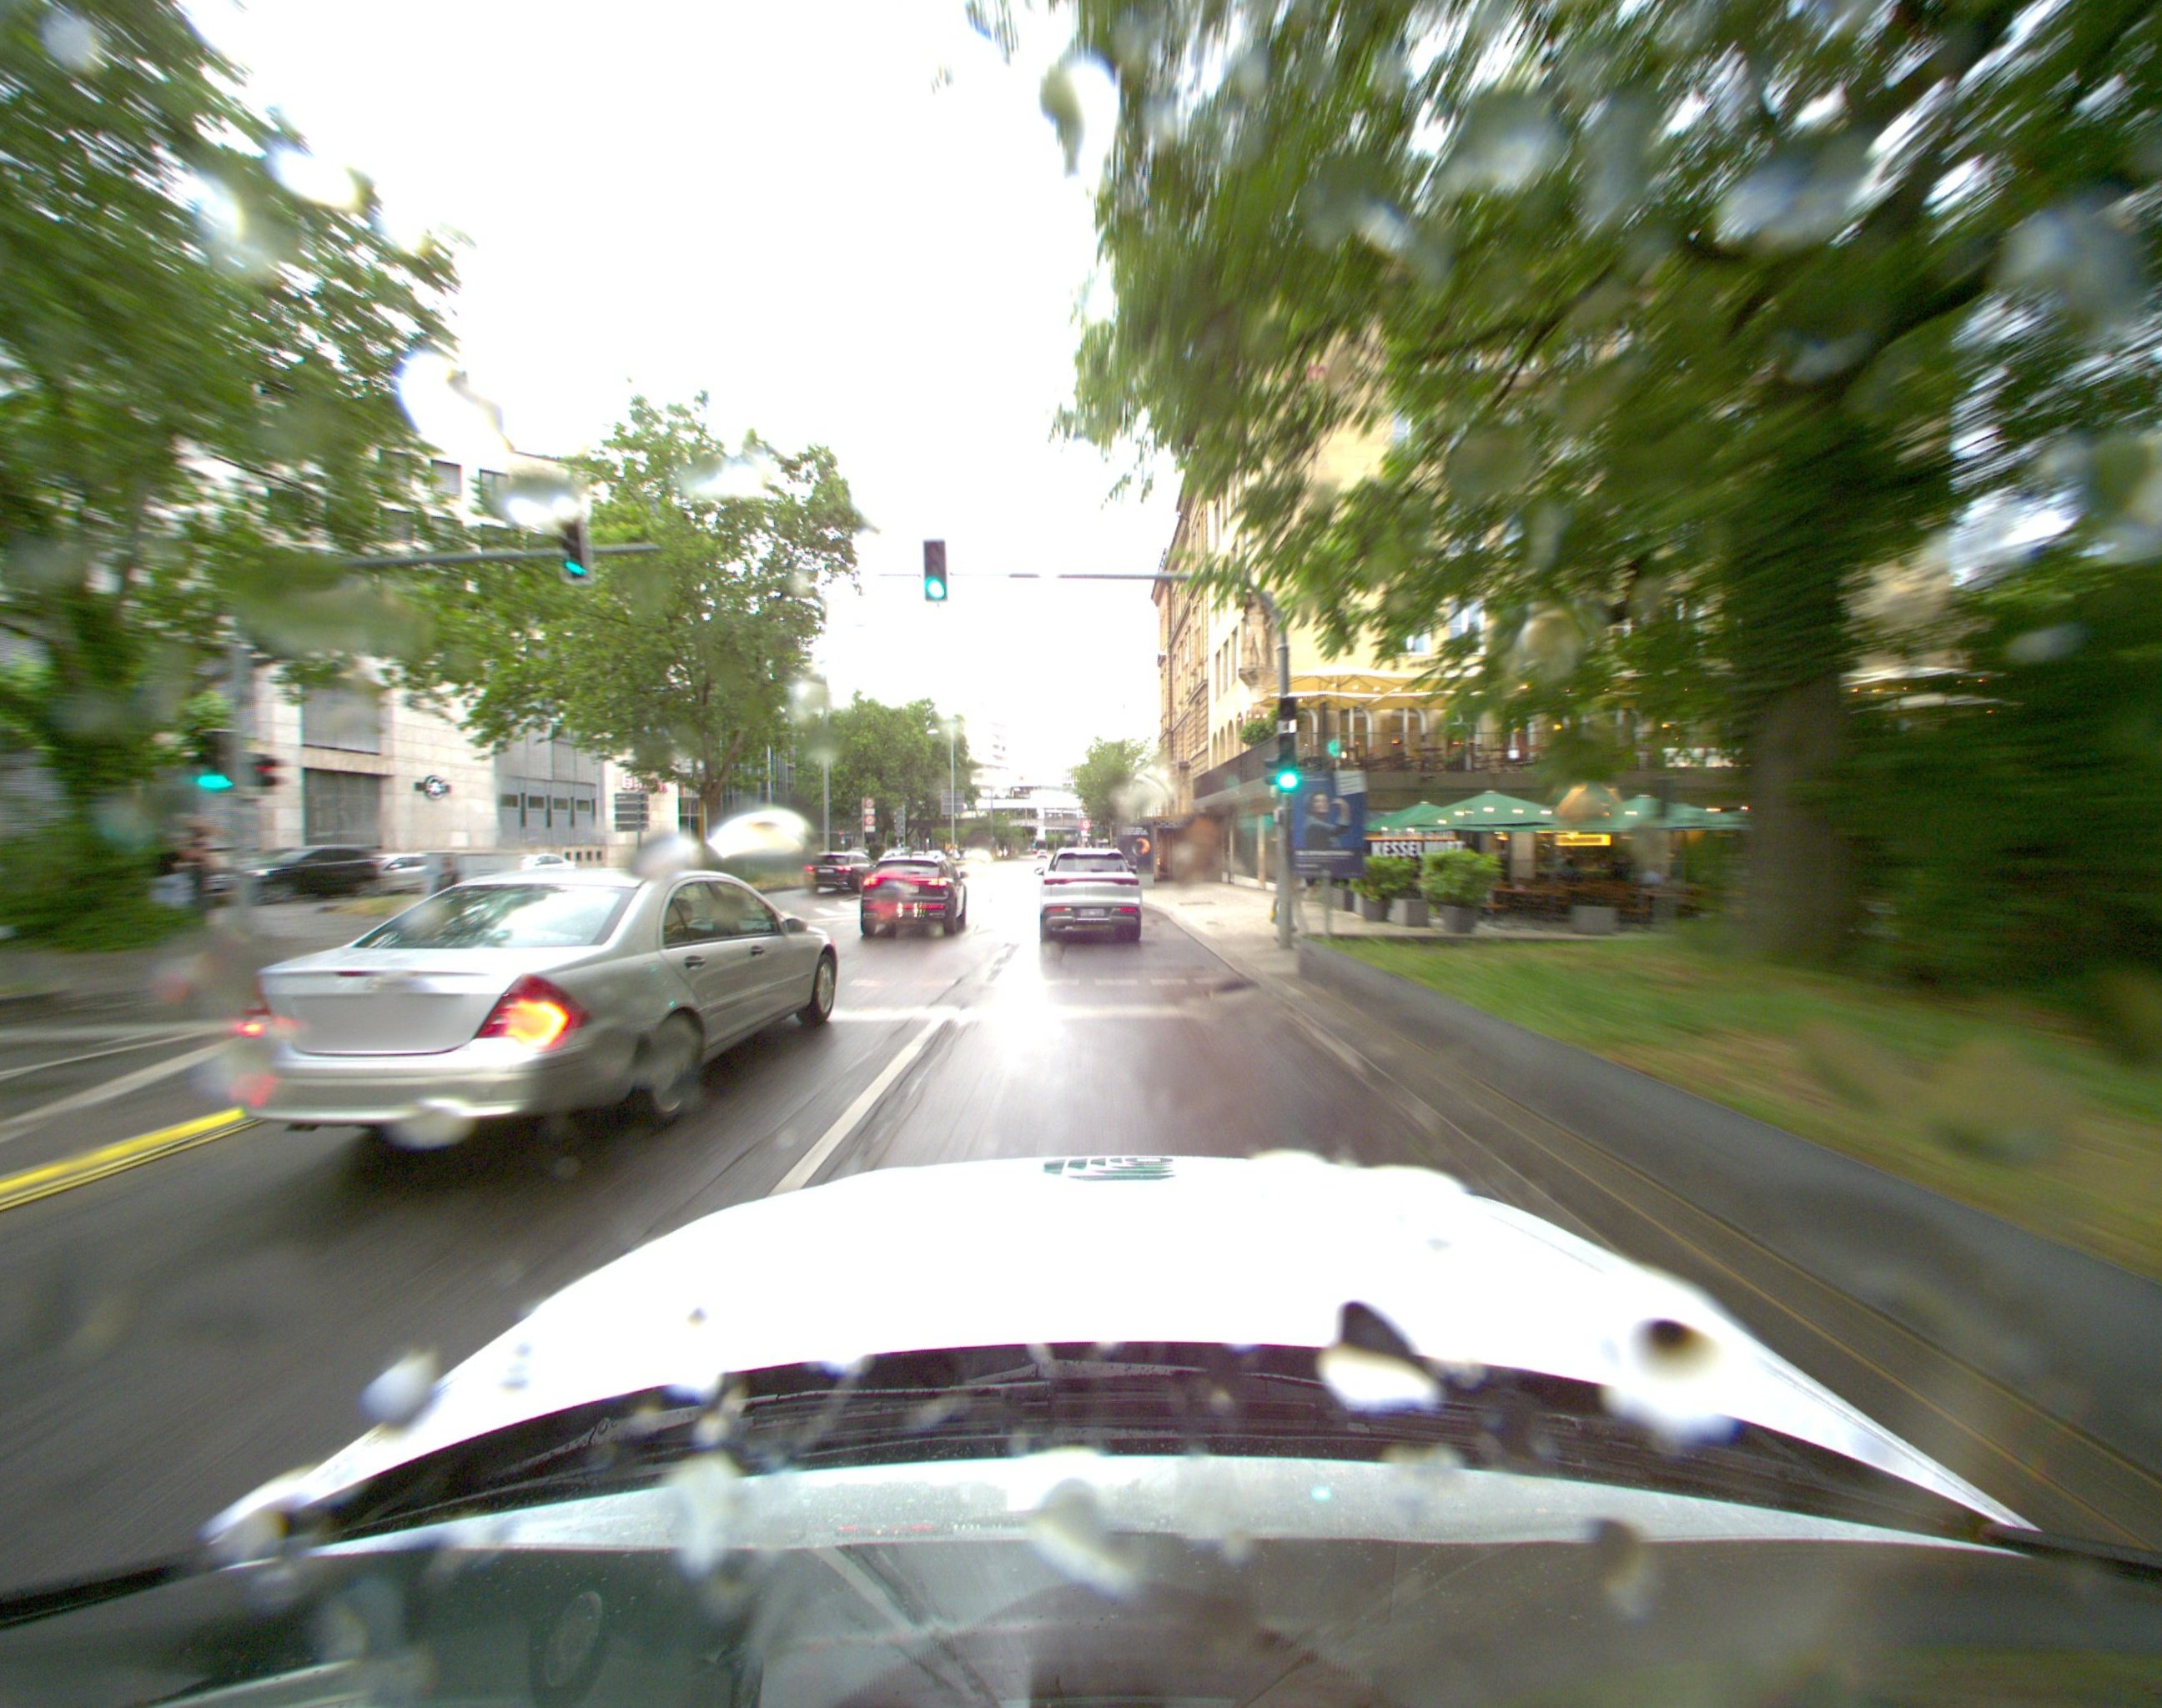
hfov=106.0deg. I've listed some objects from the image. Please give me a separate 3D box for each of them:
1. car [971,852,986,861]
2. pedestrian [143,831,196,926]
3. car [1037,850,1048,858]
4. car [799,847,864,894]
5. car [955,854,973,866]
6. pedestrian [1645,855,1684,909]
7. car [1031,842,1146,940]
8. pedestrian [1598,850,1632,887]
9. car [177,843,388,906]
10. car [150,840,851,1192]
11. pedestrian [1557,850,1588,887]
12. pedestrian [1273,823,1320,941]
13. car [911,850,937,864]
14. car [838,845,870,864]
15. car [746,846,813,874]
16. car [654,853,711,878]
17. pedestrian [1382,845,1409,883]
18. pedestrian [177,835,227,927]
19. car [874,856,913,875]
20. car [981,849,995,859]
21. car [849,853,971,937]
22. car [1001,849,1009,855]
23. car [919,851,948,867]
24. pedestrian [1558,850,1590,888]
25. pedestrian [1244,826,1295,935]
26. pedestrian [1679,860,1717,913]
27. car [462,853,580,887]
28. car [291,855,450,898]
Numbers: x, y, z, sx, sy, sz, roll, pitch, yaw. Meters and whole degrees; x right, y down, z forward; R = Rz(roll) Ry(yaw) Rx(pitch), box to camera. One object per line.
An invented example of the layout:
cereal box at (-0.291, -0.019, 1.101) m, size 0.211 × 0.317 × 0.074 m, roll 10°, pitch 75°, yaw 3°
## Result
car at (-15.491, 0.336, 123.124) m, size 1.591 × 1.360 × 4.118 m, roll 0°, pitch 0°, yaw 2°
pedestrian at (-15.842, 0.410, 14.165) m, size 0.557 × 1.614 × 0.420 m, roll 0°, pitch 1°, yaw -40°
car at (-6.859, -0.040, 144.356) m, size 1.647 × 1.342 × 4.001 m, roll 0°, pitch 0°, yaw 1°
car at (-8.949, 0.541, 29.531) m, size 1.812 × 1.578 × 3.985 m, roll 0°, pitch 0°, yaw -11°
car at (-14.922, 0.752, 103.900) m, size 1.694 × 1.437 × 4.581 m, roll 0°, pitch 0°, yaw 0°
pedestrian at (14.446, 0.696, 20.169) m, size 0.645 × 1.322 × 0.425 m, roll 0°, pitch 0°, yaw -4°
car at (0.099, 0.631, 15.587) m, size 1.895 × 1.621 × 3.998 m, roll 0°, pitch 0°, yaw -1°
pedestrian at (15.434, 0.410, 23.548) m, size 0.552 × 1.055 × 0.652 m, roll 1°, pitch 1°, yaw 2°
car at (-23.116, 0.554, 23.852) m, size 1.729 × 1.673 × 4.299 m, roll 0°, pitch 0°, yaw 5°
car at (-3.085, 0.683, 5.651) m, size 1.666 × 1.479 × 4.361 m, roll 1°, pitch 0°, yaw 1°
pedestrian at (14.193, 0.417, 23.515) m, size 0.552 × 1.055 × 0.545 m, roll 1°, pitch 1°, yaw 2°
pedestrian at (3.439, 0.440, 13.039) m, size 0.630 × 1.834 × 0.563 m, roll 0°, pitch -1°, yaw 3°
car at (-17.111, 0.353, 88.956) m, size 1.719 × 1.432 × 4.399 m, roll 0°, pitch 0°, yaw 3°
car at (-20.527, 0.044, 73.783) m, size 1.826 × 1.639 × 4.089 m, roll 0°, pitch 0°, yaw -1°
car at (-15.465, 0.312, 42.002) m, size 1.740 × 1.364 × 4.134 m, roll 0°, pitch 0°, yaw 3°
car at (-24.099, 0.675, 49.363) m, size 1.585 × 1.415 × 3.405 m, roll 0°, pitch 0°, yaw 4°
pedestrian at (9.030, 0.278, 23.394) m, size 0.552 × 1.055 × 0.545 m, roll 1°, pitch 1°, yaw 2°
pedestrian at (-15.882, 0.467, 14.721) m, size 0.449 × 1.614 × 0.636 m, roll 0°, pitch 1°, yaw -31°
car at (-14.504, 0.870, 63.156) m, size 1.739 × 1.364 × 3.949 m, roll 0°, pitch 0°, yaw 5°
car at (-15.739, 0.021, 138.648) m, size 1.868 × 1.680 × 4.679 m, roll 0°, pitch 0°, yaw 0°
car at (-3.255, 0.718, 16.249) m, size 1.770 × 1.457 × 3.996 m, roll 0°, pitch 0°, yaw -3°
car at (-19.854, -0.532, 212.415) m, size 1.591 × 1.360 × 4.118 m, roll 0°, pitch 0°, yaw 2°
car at (-14.475, 0.487, 80.186) m, size 1.852 × 1.442 × 4.316 m, roll 0°, pitch 0°, yaw 3°
pedestrian at (13.804, 0.416, 22.808) m, size 0.552 × 1.055 × 0.545 m, roll 1°, pitch 1°, yaw 2°
pedestrian at (3.247, 0.446, 14.034) m, size 0.593 × 1.834 × 0.624 m, roll 0°, pitch -1°, yaw -27°
pedestrian at (15.434, 0.803, 20.380) m, size 0.645 × 1.322 × 0.425 m, roll 0°, pitch 0°, yaw -4°
car at (-24.880, 0.669, 36.434) m, size 1.739 × 1.415 × 4.710 m, roll 0°, pitch 0°, yaw 4°
car at (-25.379, 0.756, 29.316) m, size 1.739 × 1.415 × 4.298 m, roll 0°, pitch 0°, yaw 4°
